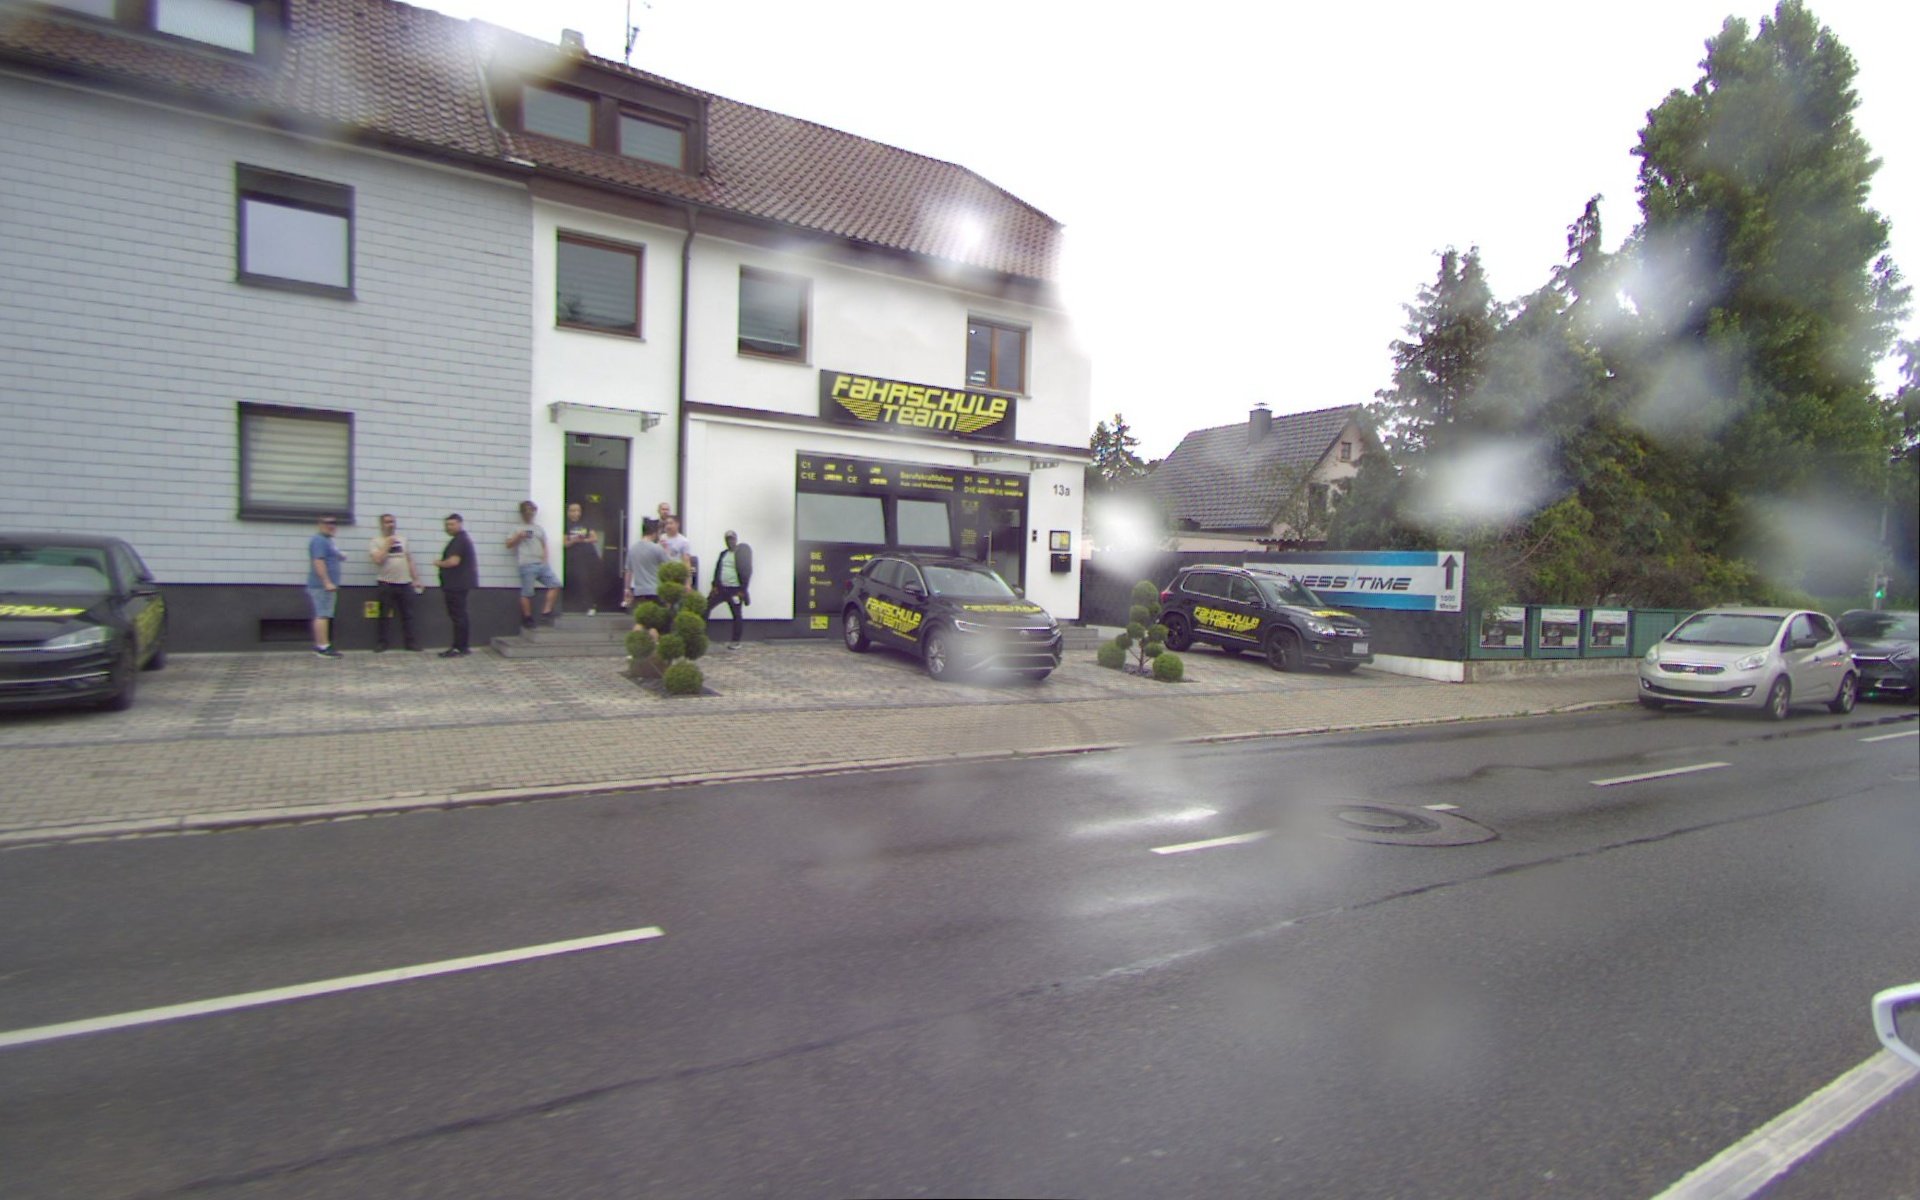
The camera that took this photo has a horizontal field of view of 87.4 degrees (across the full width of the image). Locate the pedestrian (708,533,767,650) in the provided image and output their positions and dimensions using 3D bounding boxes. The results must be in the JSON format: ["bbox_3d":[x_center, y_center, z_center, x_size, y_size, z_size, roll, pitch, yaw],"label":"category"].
[{"bbox_3d":[-3.345,-0.149,15.148,0.677,1.693,0.675,3,4,-2],"label":"pedestrian"}]

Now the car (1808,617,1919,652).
[{"bbox_3d":[44.146,1.636,49.020,3.929,1.550,1.835,1,0,31],"label":"car"}]

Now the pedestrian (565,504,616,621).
[{"bbox_3d":[-5.475,-0.559,14.875,0.545,1.693,0.569,1,4,-33],"label":"pedestrian"}]

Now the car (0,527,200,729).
[{"bbox_3d":[-8.342,0.113,9.103,1.863,1.439,3.966,1,3,-31],"label":"car"}]

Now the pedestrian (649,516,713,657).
[{"bbox_3d":[-3.878,-0.198,13.928,0.677,1.892,0.730,1,4,-26],"label":"pedestrian"}]

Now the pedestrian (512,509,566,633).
[{"bbox_3d":[-5.929,-0.410,14.143,0.569,1.693,0.578,1,4,-33],"label":"pedestrian"}]

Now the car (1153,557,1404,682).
[{"bbox_3d":[5.596,0.254,18.205,1.719,1.744,4.159,1,5,-30],"label":"car"}]

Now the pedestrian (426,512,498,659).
[{"bbox_3d":[-6.327,-0.192,12.785,0.635,1.811,0.653,1,4,-8],"label":"pedestrian"}]

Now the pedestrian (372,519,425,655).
[{"bbox_3d":[-7.403,-0.178,13.233,0.556,1.731,0.583,1,4,-33],"label":"pedestrian"}]

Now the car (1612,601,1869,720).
[{"bbox_3d":[12.135,0.883,15.561,4.096,1.589,1.795,2,0,-31],"label":"car"}]

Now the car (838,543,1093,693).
[{"bbox_3d":[-0.085,0.134,14.319,1.850,1.586,3.967,0,6,-30],"label":"car"}]

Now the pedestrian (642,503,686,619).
[{"bbox_3d":[-4.446,-0.586,15.064,0.506,1.693,0.514,1,4,-26],"label":"pedestrian"}]

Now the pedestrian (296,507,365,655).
[{"bbox_3d":[-7.747,-0.231,12.380,0.681,1.777,0.444,1,4,-31],"label":"pedestrian"}]

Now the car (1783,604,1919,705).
[{"bbox_3d":[17.727,1.005,19.095,4.547,1.691,1.795,2,0,-32],"label":"car"}]

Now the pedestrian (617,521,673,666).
[{"bbox_3d":[-4.114,-0.094,13.083,0.533,1.813,0.666,1,4,-27],"label":"pedestrian"}]
